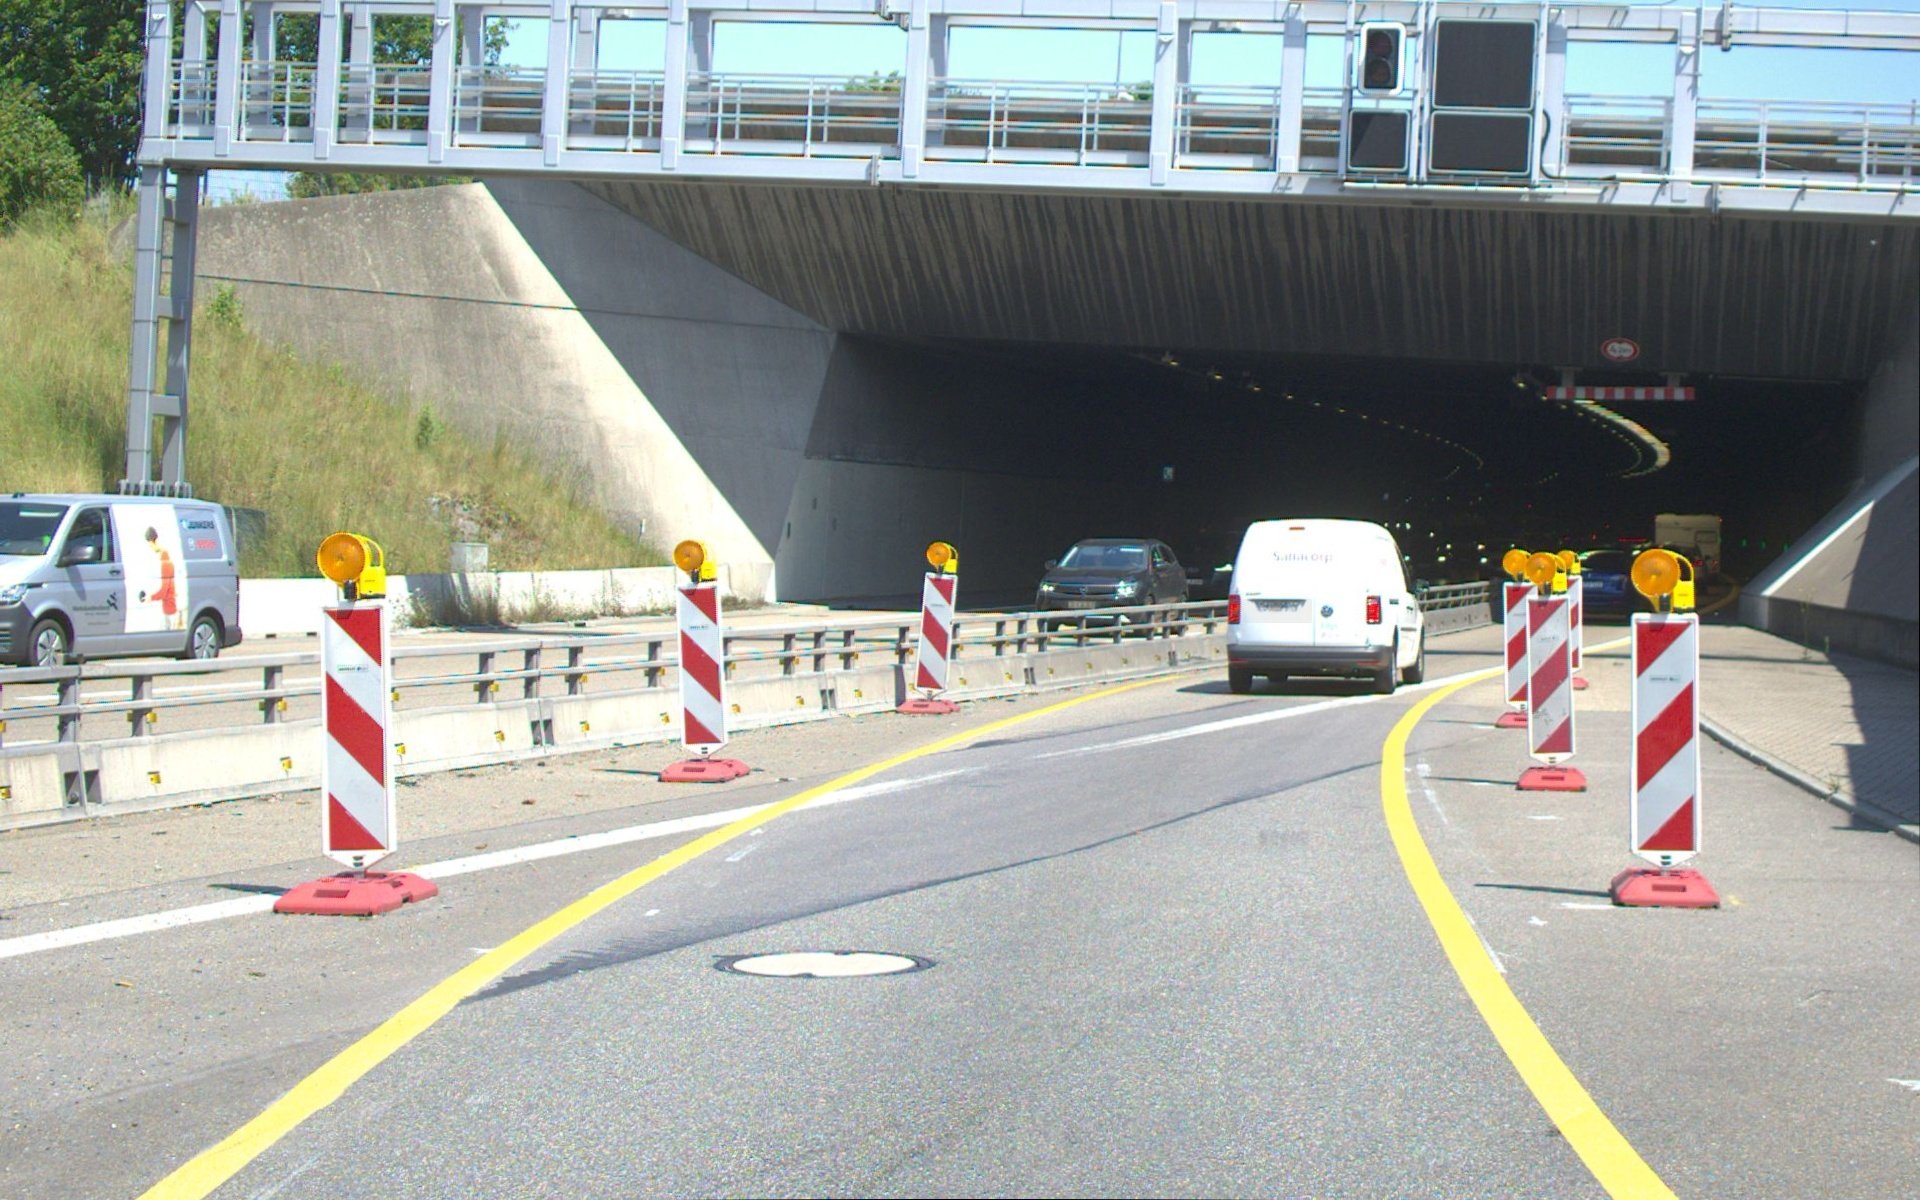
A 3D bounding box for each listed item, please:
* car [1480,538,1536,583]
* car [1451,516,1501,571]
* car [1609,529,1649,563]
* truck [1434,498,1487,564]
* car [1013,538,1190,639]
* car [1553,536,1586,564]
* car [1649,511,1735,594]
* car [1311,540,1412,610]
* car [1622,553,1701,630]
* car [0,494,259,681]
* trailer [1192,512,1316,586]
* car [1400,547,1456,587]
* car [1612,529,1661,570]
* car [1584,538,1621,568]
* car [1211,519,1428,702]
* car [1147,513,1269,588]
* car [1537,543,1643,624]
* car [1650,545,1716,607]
[{"bbox_3d":[20.055,-1.455,125.721,1.774,1.572,4.444,1,1,12],"label":"car"},{"bbox_3d":[24.133,-2.664,160.655,1.994,2.506,6.039,1,1,11],"label":"car"},{"bbox_3d":[40.761,-3.274,209.408,1.940,2.014,4.661,1,1,6],"label":"car"},{"bbox_3d":[30.292,-4.188,207.994,2.811,3.902,6.453,1,1,11],"label":"truck"},{"bbox_3d":[2.387,-0.205,56.794,1.744,1.588,4.224,1,1,19],"label":"car"},{"bbox_3d":[45.260,-3.704,255.378,2.073,2.014,4.661,1,1,6],"label":"car"},{"bbox_3d":[26.461,-1.677,124.026,2.815,2.764,7.096,0,-1,14],"label":"car"},{"bbox_3d":[9.564,-0.617,81.587,1.774,1.588,4.983,1,1,13],"label":"car"},{"bbox_3d":[17.589,-0.221,86.152,1.809,1.809,4.407,3,1,12],"label":"car"},{"bbox_3d":[-9.328,-0.127,36.188,1.689,1.828,4.783,1,0,18],"label":"car"},{"bbox_3d":[7.463,-1.303,86.732,1.948,1.799,5.518,1,1,18],"label":"trailer"},{"bbox_3d":[18.484,-1.302,135.799,1.774,1.510,4.562,1,1,13],"label":"car"},{"bbox_3d":[34.345,-2.583,174.656,1.940,2.014,4.661,1,1,6],"label":"car"},{"bbox_3d":[43.998,-3.255,235.508,2.073,2.014,4.661,1,1,6],"label":"car"},{"bbox_3d":[3.930,0.091,37.065,1.809,1.788,3.729,3,1,13],"label":"car"},{"bbox_3d":[5.933,-1.183,81.753,1.775,1.721,4.863,1,1,18],"label":"car"},{"bbox_3d":[12.968,-0.344,70.588,1.810,1.532,4.407,3,1,14],"label":"car"},{"bbox_3d":[21.701,-0.728,103.214,1.809,1.745,4.407,3,1,12],"label":"car"}]
